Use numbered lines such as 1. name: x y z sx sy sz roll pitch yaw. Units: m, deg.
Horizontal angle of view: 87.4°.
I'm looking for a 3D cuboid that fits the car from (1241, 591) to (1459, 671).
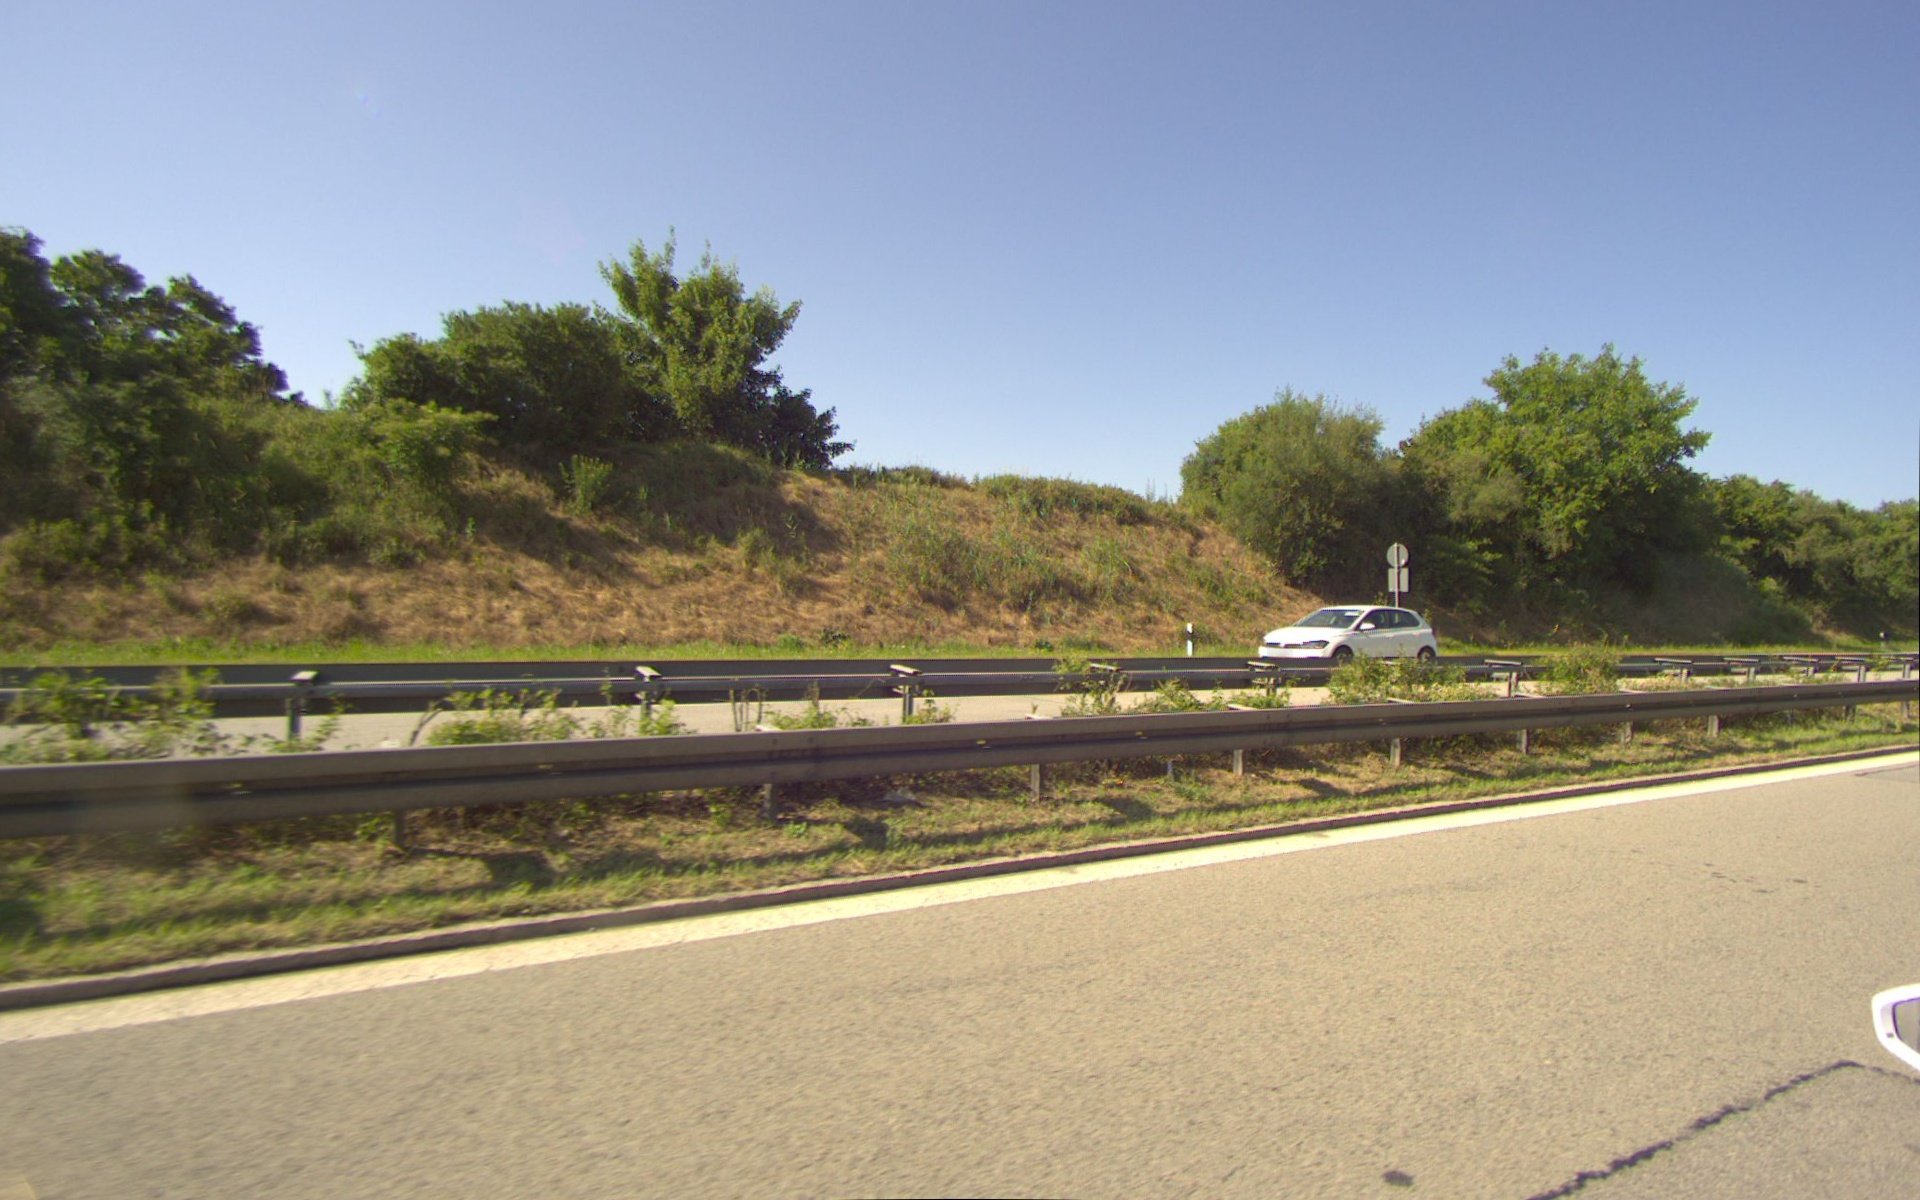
1. car: 7.911 0.591 20.289 4.362 1.458 1.830 1 0 -31
